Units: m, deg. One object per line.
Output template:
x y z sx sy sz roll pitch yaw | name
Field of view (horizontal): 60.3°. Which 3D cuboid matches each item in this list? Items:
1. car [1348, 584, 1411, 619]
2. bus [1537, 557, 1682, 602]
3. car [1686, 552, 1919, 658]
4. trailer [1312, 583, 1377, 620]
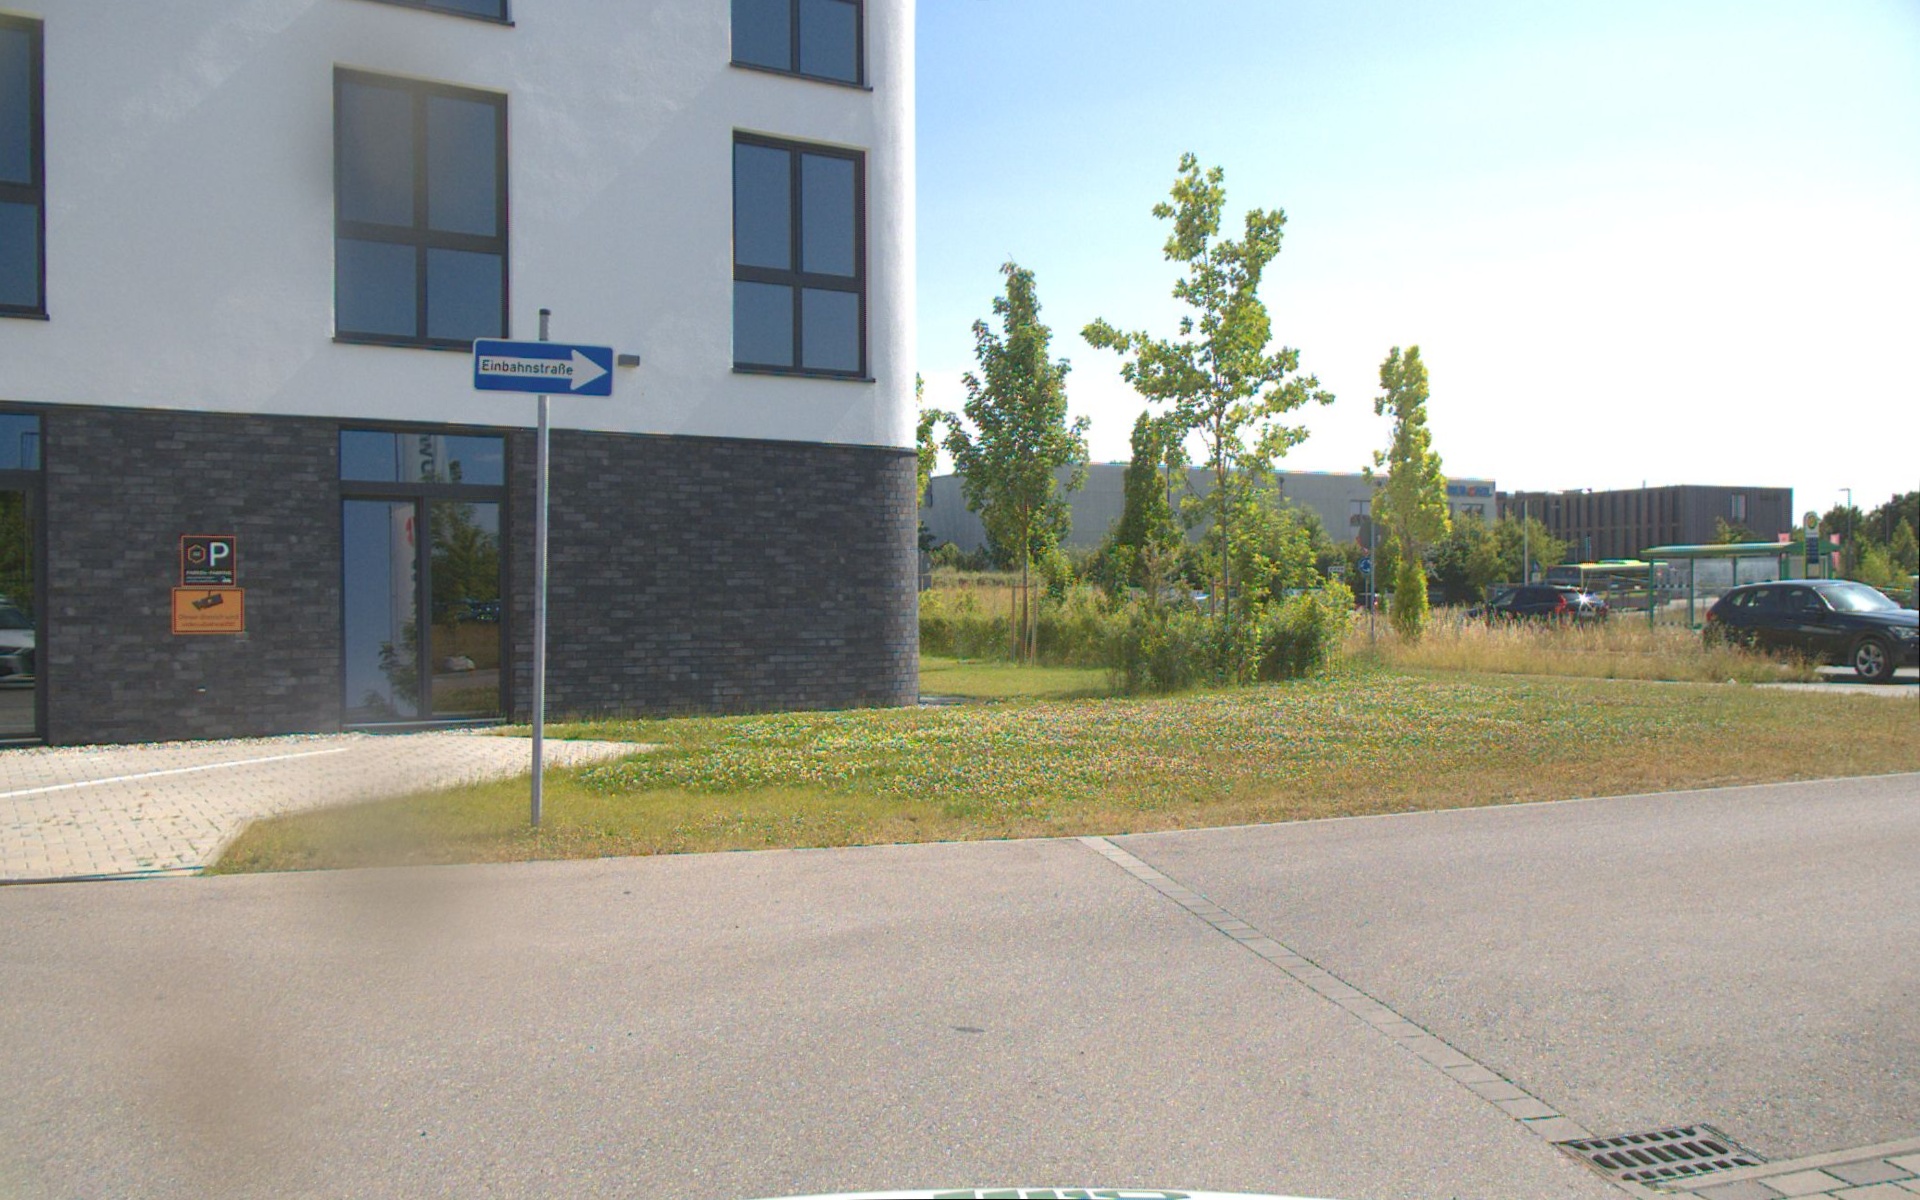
23.002 0.074 90.532 1.795 1.892 3.978 1 1 40 | car
41.475 -1.349 105.390 11.425 2.783 2.551 -1 1 -33 | bus
14.233 0.055 26.858 1.884 1.578 4.354 0 1 -25 | car
20.370 0.085 87.533 1.795 1.892 3.978 1 1 40 | trailer
